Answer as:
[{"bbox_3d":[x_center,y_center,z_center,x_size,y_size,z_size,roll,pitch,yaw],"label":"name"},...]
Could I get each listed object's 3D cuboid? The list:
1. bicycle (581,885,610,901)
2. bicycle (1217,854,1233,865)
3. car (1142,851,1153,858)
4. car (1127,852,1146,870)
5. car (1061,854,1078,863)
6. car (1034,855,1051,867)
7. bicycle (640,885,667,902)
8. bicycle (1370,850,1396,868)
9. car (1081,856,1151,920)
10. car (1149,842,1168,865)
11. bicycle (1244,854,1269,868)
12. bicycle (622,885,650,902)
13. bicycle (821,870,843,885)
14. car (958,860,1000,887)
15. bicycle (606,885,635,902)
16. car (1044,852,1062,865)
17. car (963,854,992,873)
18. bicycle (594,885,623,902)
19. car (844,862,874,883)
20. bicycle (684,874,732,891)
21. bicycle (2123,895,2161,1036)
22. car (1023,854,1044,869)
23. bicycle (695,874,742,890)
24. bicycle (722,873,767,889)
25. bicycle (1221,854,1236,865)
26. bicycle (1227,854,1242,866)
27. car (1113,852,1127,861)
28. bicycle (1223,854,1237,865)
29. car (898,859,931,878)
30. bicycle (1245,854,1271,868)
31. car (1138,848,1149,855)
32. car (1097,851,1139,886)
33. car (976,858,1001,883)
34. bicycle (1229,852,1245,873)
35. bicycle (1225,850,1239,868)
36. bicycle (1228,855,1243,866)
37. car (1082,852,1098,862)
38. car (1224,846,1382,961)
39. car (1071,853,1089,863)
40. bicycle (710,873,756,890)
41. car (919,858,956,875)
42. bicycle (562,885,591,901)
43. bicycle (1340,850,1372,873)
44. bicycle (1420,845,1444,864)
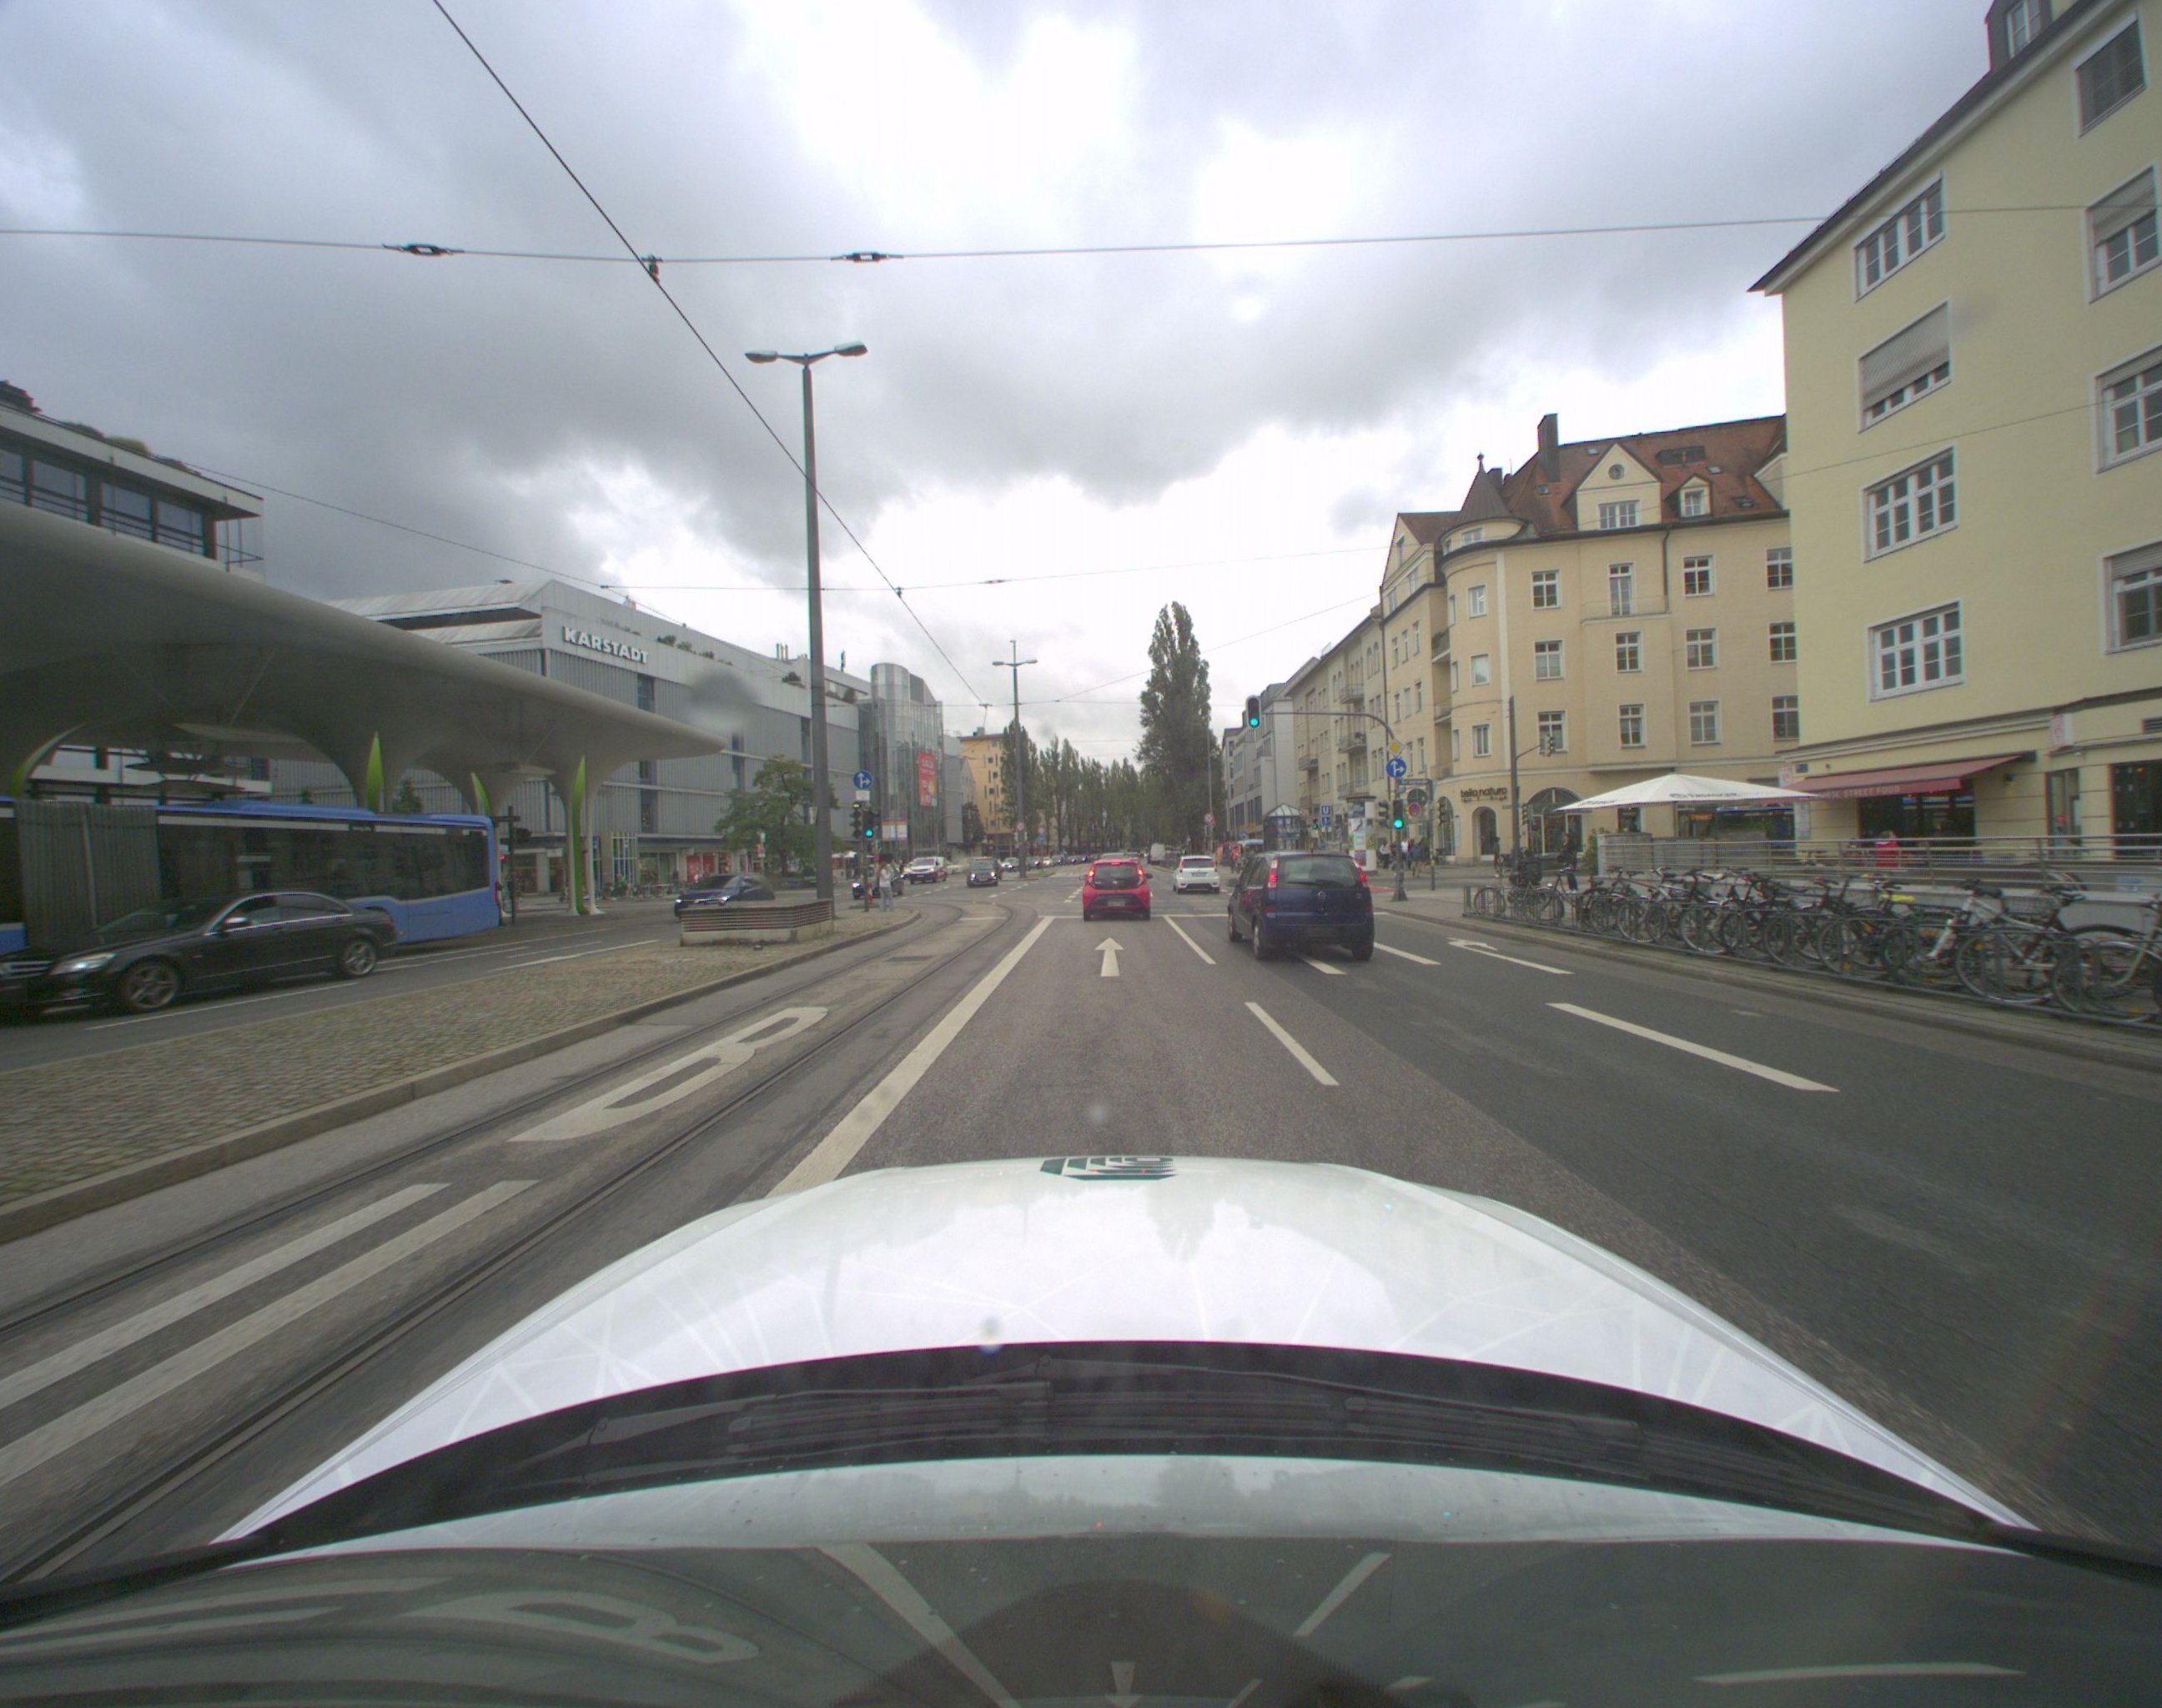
[{"bbox_3d":[-30.204,2.417,50.657,0.525,0.998,1.987,-2,-2,3],"label":"bicycle"},{"bbox_3d":[13.379,0.515,75.830,1.423,0.963,0.370,-2,0,7],"label":"bicycle"},{"bbox_3d":[16.790,0.027,204.763,1.979,1.691,4.431,-2,0,15],"label":"car"},{"bbox_3d":[6.111,0.764,90.019,1.986,1.838,4.002,-2,0,2],"label":"car"},{"bbox_3d":[-1.812,0.675,130.670,1.834,1.382,4.613,-1,-1,10],"label":"car"},{"bbox_3d":[-5.082,0.936,108.524,1.758,1.421,4.642,-2,0,3],"label":"car"},{"bbox_3d":[-26.388,2.416,50.243,0.525,0.998,1.987,-2,-2,3],"label":"bicycle"},{"bbox_3d":[18.027,0.295,48.686,0.495,1.059,1.858,-2,0,-13],"label":"bicycle"},{"bbox_3d":[0.896,0.794,20.430,1.598,1.461,3.132,-1,0,3],"label":"car"},{"bbox_3d":[9.836,-0.062,103.838,2.098,2.718,4.807,-2,0,3],"label":"car"},{"bbox_3d":[13.144,0.531,60.924,1.747,0.964,0.369,-2,0,2],"label":"bicycle"},{"bbox_3d":[-27.540,2.416,50.414,0.525,0.998,1.987,-2,-2,3],"label":"bicycle"},{"bbox_3d":[-18.795,1.767,61.423,1.566,1.112,0.374,-2,0,5],"label":"bicycle"},{"bbox_3d":[-5.912,1.099,46.853,1.551,1.445,3.514,-1,0,-21],"label":"car"},{"bbox_3d":[-28.561,2.417,50.532,0.525,0.998,1.987,-2,-2,3],"label":"bicycle"},{"bbox_3d":[-4.071,0.625,119.530,1.926,1.739,4.597,-2,0,6],"label":"car"},{"bbox_3d":[-12.114,1.072,95.546,1.983,2.013,5.533,-2,0,6],"label":"car"},{"bbox_3d":[-29.340,2.417,50.581,0.525,0.998,1.987,-2,-2,3],"label":"bicycle"},{"bbox_3d":[-19.046,1.546,69.989,1.994,1.536,4.399,-3,1,-10],"label":"car"},{"bbox_3d":[-29.255,2.254,63.899,3.468,1.156,1.064,-2,0,14],"label":"bicycle"},{"bbox_3d":[8.496,0.775,5.440,1.818,0.996,0.350,-3,-1,42],"label":"bicycle"},{"bbox_3d":[-5.729,0.876,98.581,1.735,1.670,4.738,-3,0,5],"label":"car"},{"bbox_3d":[-28.951,2.254,65.105,3.468,1.156,1.064,-2,0,14],"label":"bicycle"},{"bbox_3d":[-28.178,2.251,68.155,3.468,1.156,1.064,-2,0,14],"label":"bicycle"},{"bbox_3d":[13.443,0.512,74.337,1.255,0.963,0.370,-2,0,4],"label":"bicycle"},{"bbox_3d":[13.212,0.532,70.033,1.177,0.963,0.369,-2,0,0],"label":"bicycle"},{"bbox_3d":[8.141,0.547,169.766,1.978,1.728,3.933,-2,0,16],"label":"car"},{"bbox_3d":[13.367,0.508,73.050,1.229,0.963,0.367,-2,0,-20],"label":"bicycle"},{"bbox_3d":[-15.100,1.323,74.067,1.893,1.543,4.396,-2,0,3],"label":"car"},{"bbox_3d":[13.082,0.538,60.233,1.747,0.964,0.453,-2,0,2],"label":"bicycle"},{"bbox_3d":[16.091,-0.690,210.778,1.979,1.691,4.431,-2,0,15],"label":"car"},{"bbox_3d":[1.839,0.696,41.378,1.986,1.618,4.001,-2,0,2],"label":"car"},{"bbox_3d":[-5.982,1.033,52.688,1.502,1.534,2.830,-2,0,-7],"label":"car"},{"bbox_3d":[10.076,0.529,52.711,0.611,1.265,2.521,-2,0,3],"label":"bicycle"},{"bbox_3d":[10.848,0.326,58.720,0.611,1.265,2.521,-2,0,3],"label":"bicycle"},{"bbox_3d":[13.197,0.551,69.489,1.175,0.963,0.370,-2,0,6],"label":"bicycle"},{"bbox_3d":[1.678,0.614,148.281,1.982,1.691,4.934,-2,0,9],"label":"car"},{"bbox_3d":[3.385,0.683,13.050,1.696,1.589,3.558,0,0,2],"label":"car"},{"bbox_3d":[-0.149,0.701,138.746,1.980,1.534,4.603,-2,0,12],"label":"car"},{"bbox_3d":[-28.538,2.252,66.730,3.468,1.156,1.064,-2,0,14],"label":"bicycle"},{"bbox_3d":[-14.211,1.207,80.780,1.980,1.508,4.650,-3,0,12],"label":"car"},{"bbox_3d":[-31.424,2.418,50.747,0.525,0.998,1.987,-2,-2,3],"label":"bicycle"},{"bbox_3d":[14.876,0.405,44.078,1.561,1.160,0.525,-3,1,4],"label":"bicycle"},{"bbox_3d":[21.107,0.041,48.944,0.493,1.089,1.864,-2,0,-4],"label":"bicycle"}]
